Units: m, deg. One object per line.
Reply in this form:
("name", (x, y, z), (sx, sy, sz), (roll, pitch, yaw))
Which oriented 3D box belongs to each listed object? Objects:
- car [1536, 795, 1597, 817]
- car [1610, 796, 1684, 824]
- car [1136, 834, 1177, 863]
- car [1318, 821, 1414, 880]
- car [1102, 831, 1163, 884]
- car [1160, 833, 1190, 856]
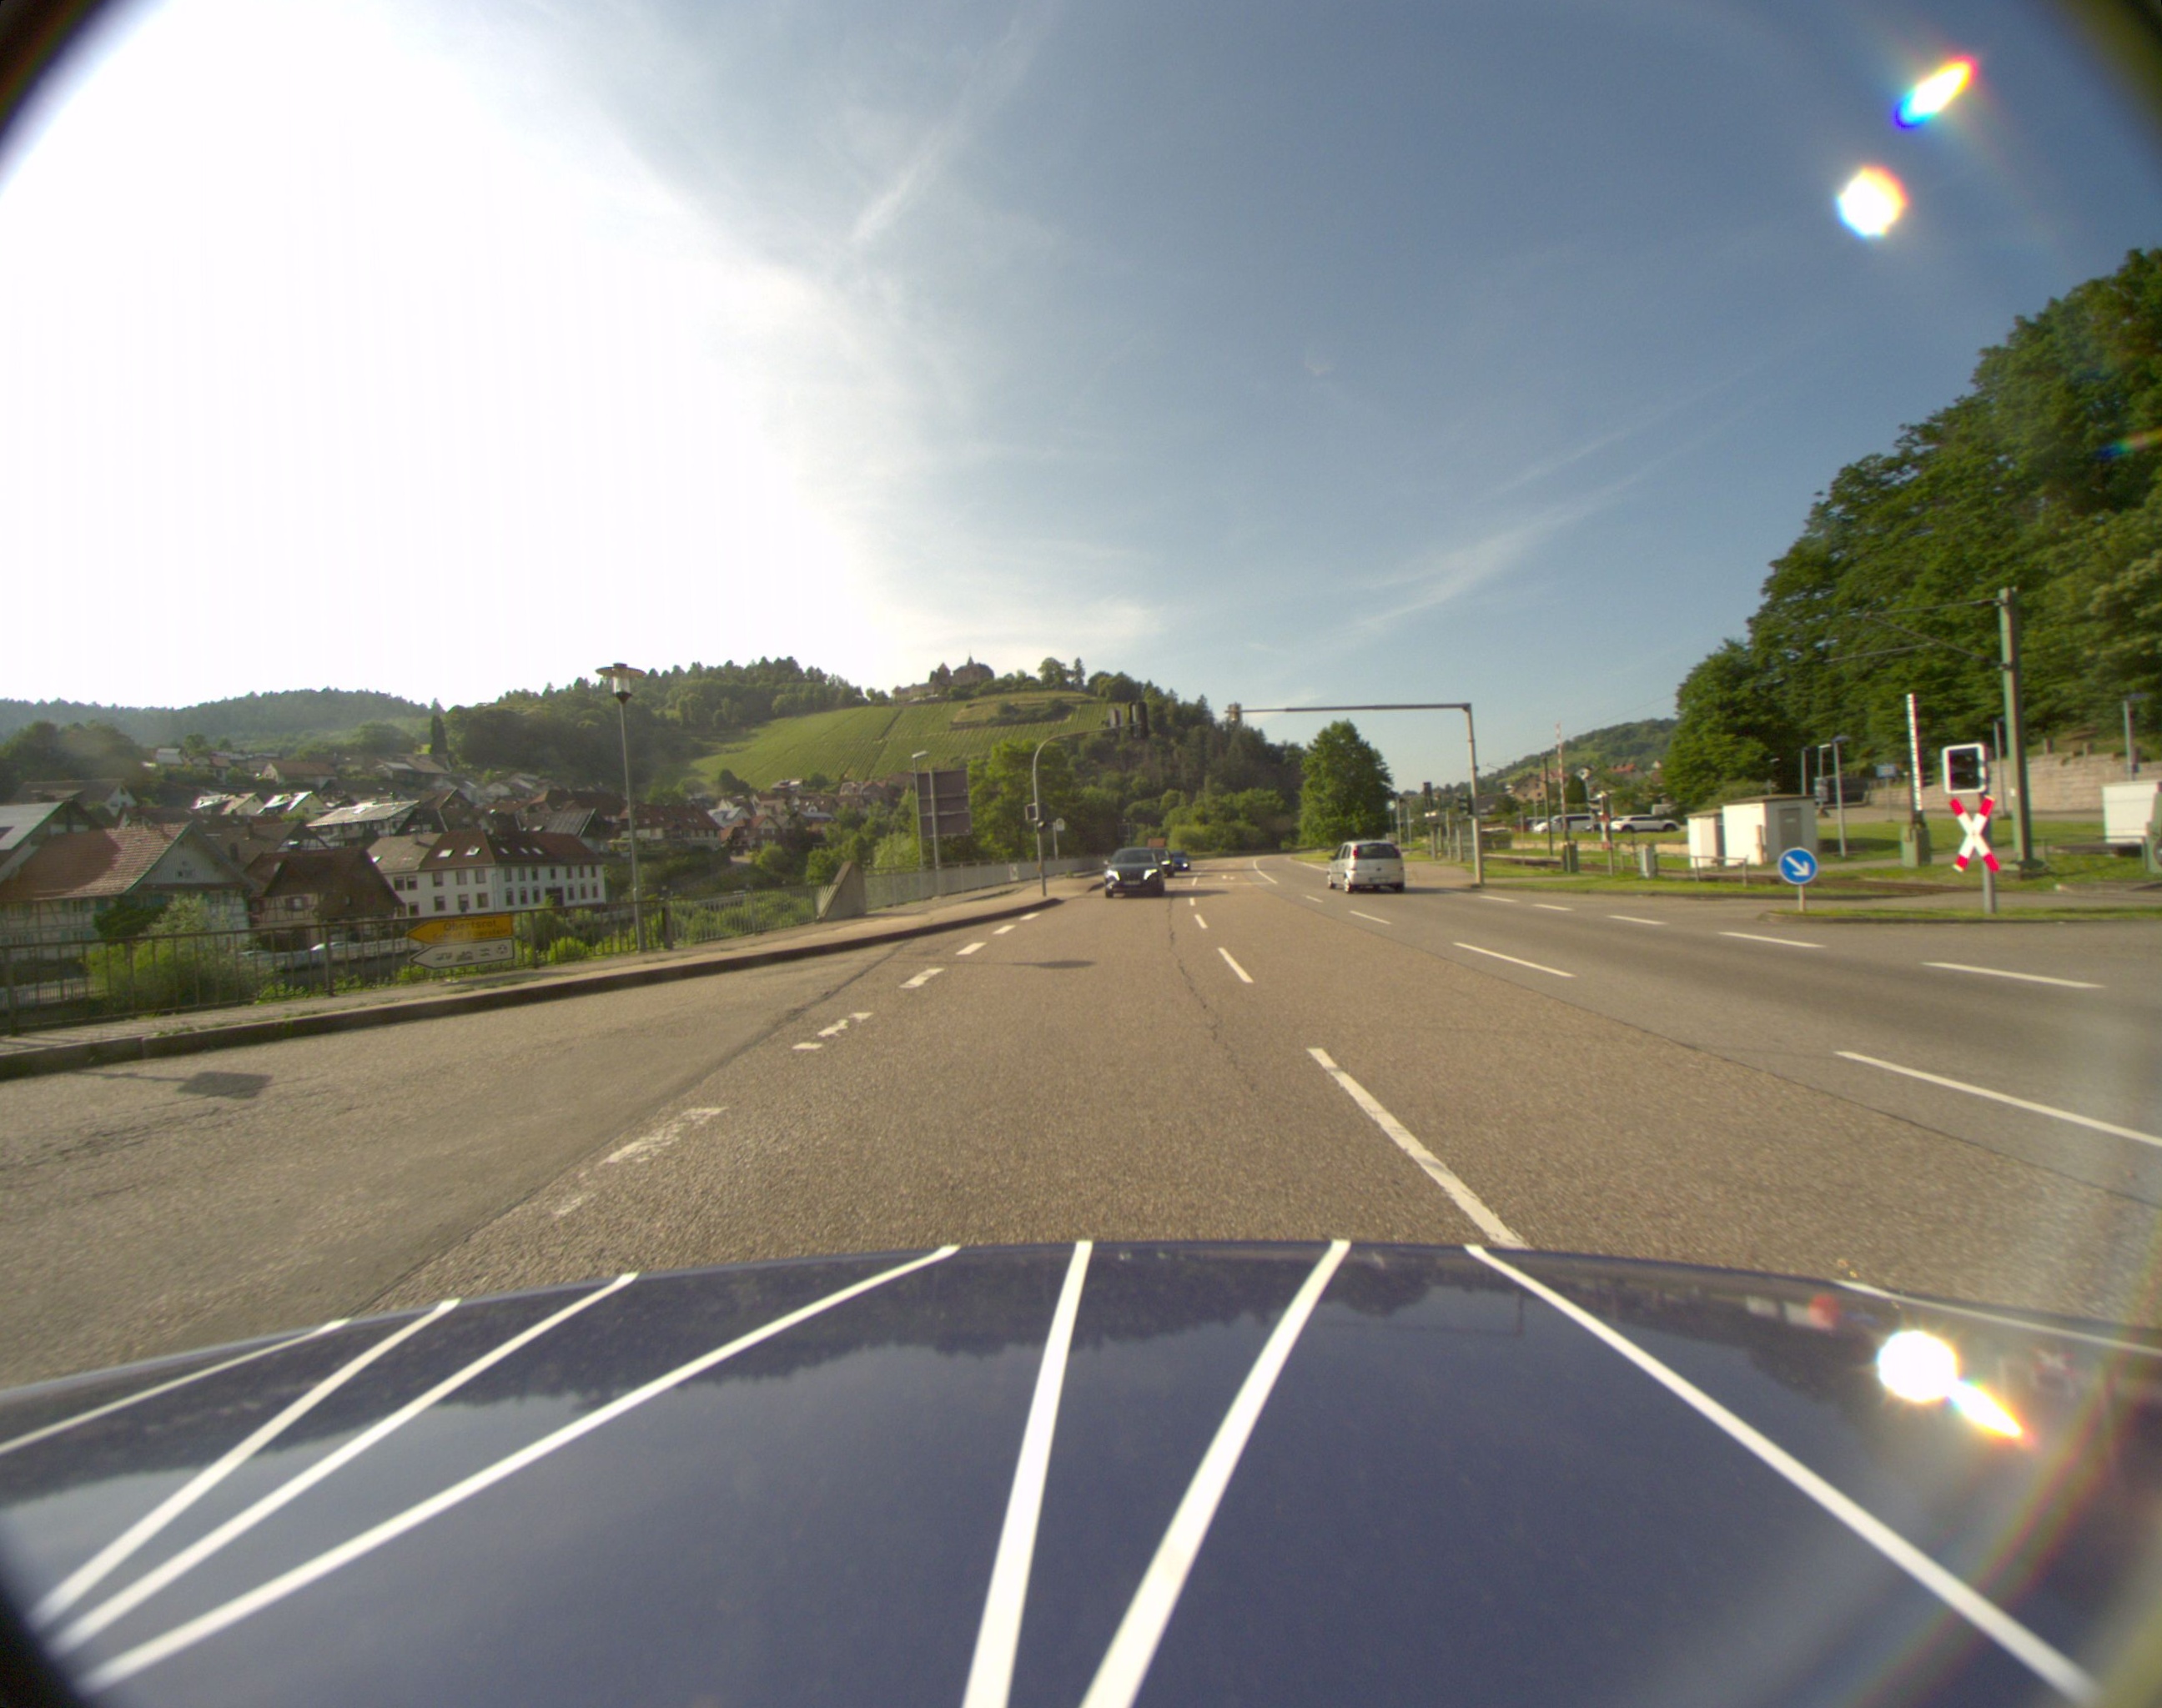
("car", (46.149, -4.539, 72.330), (4.444, 1.793, 2.002), (-2, 1, 19))
("car", (41.349, -3.188, 55.610), (3.991, 1.740, 1.642), (-2, 1, 19))
("car", (4.160, -0.317, 41.213), (1.997, 1.384, 4.002), (-2, 1, 8))
("car", (8.971, -0.157, 24.271), (1.696, 1.647, 4.171), (-3, 2, 4))
("car", (1.803, 0.060, 25.773), (1.862, 1.576, 4.000), (-2, 2, 6))
("car", (6.564, -0.667, 52.614), (1.866, 1.483, 4.002), (-2, 1, 9))
